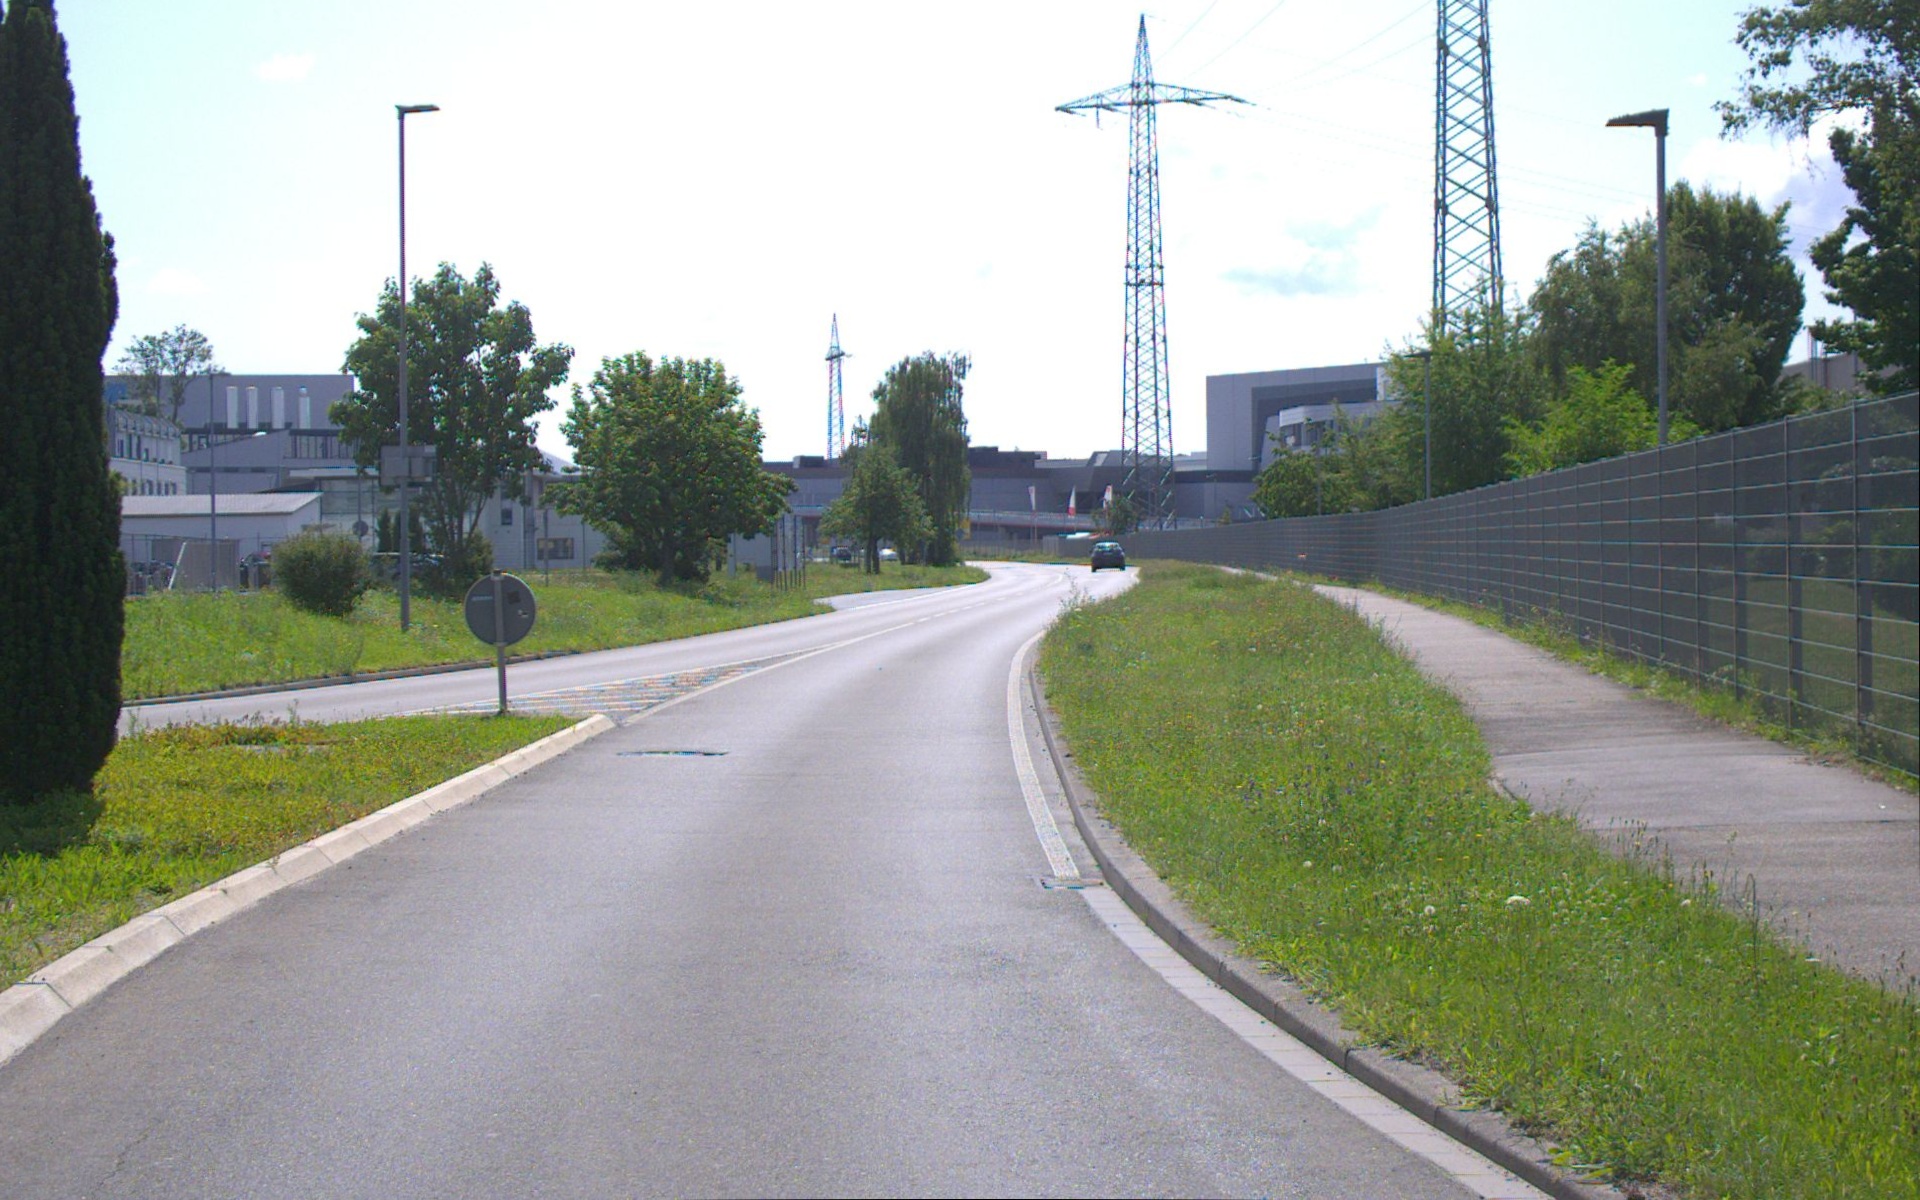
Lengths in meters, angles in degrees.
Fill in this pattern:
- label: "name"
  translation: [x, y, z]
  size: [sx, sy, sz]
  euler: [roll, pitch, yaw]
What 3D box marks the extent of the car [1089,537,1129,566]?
- label: "car"
  translation: [8.015, -2.628, 185.472]
  size: [2.012, 1.503, 4.000]
  euler: [-1, 1, 1]
